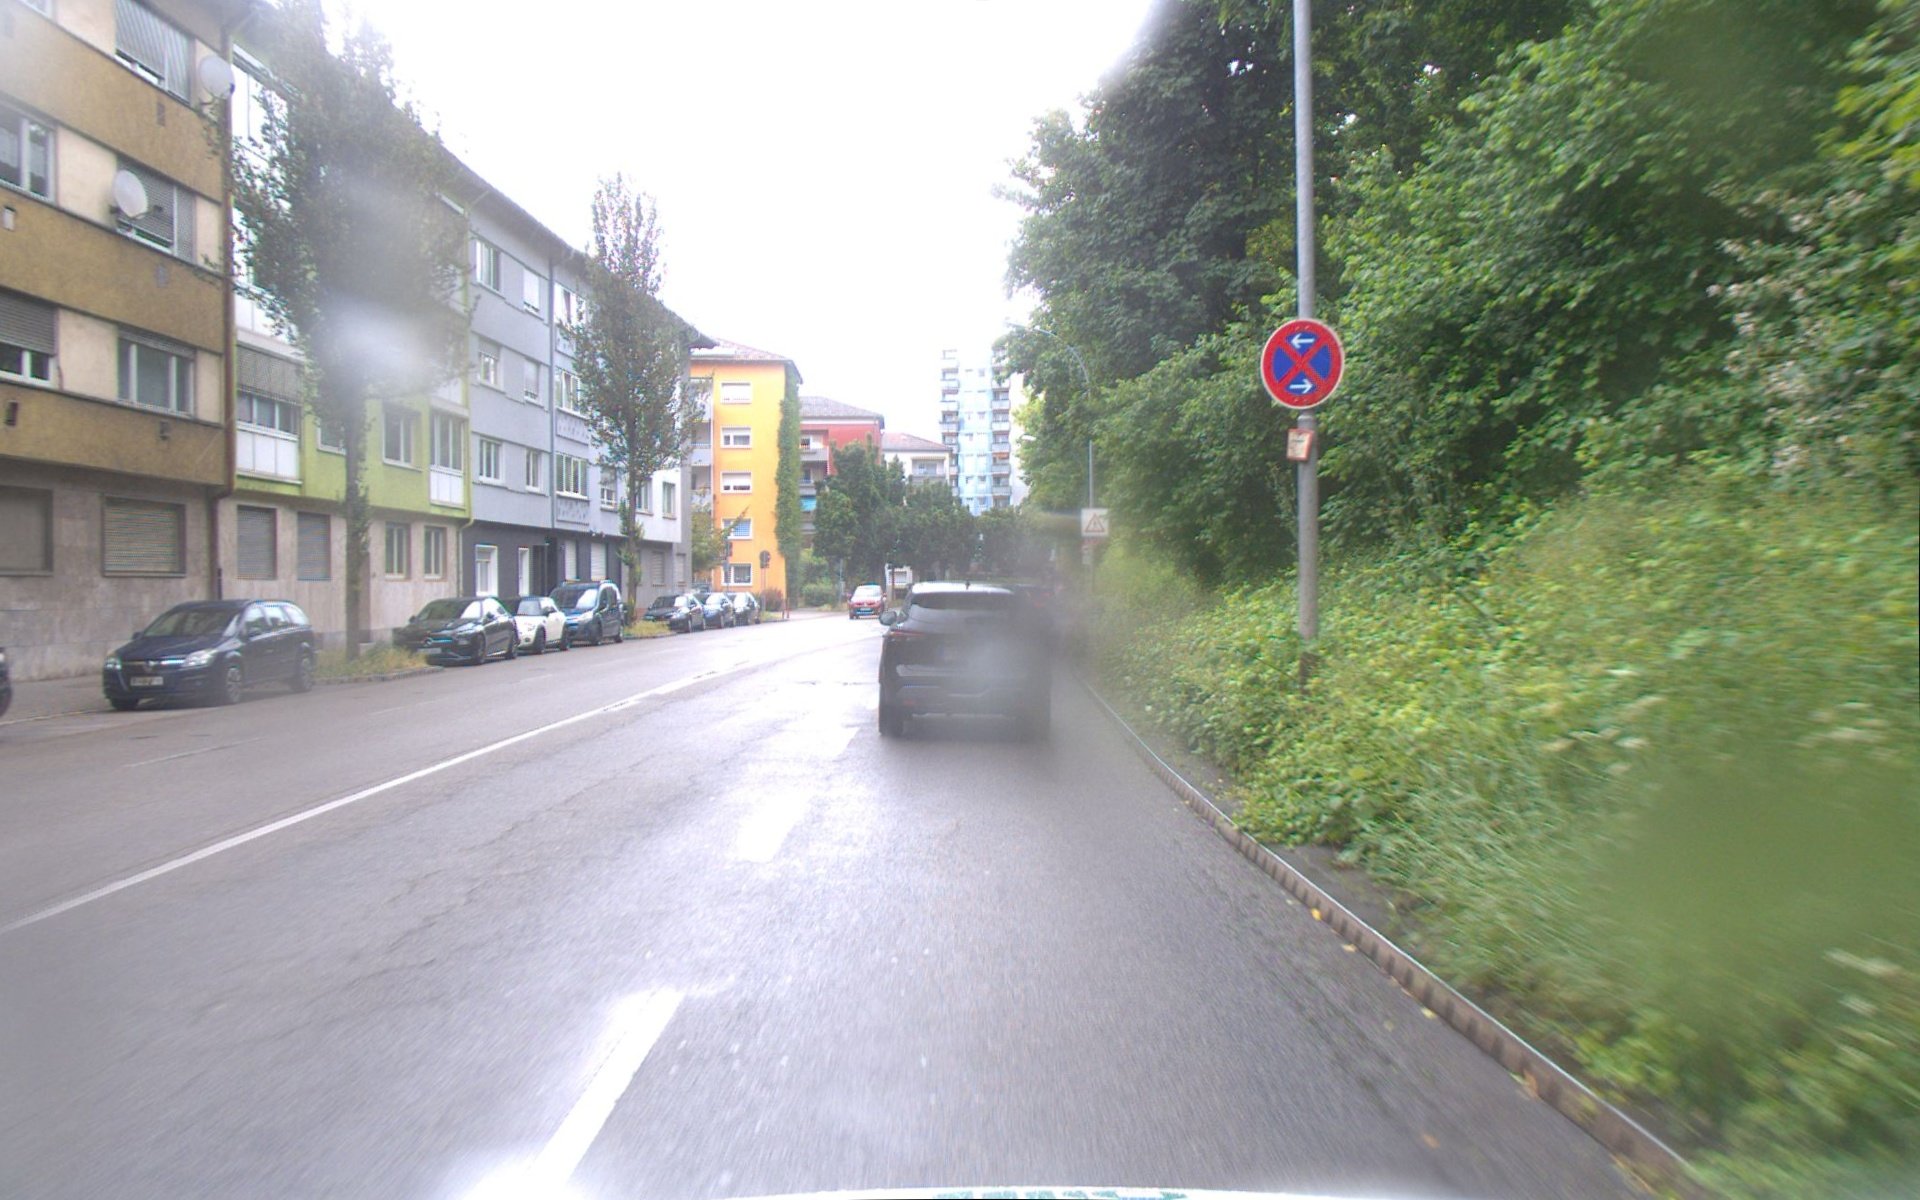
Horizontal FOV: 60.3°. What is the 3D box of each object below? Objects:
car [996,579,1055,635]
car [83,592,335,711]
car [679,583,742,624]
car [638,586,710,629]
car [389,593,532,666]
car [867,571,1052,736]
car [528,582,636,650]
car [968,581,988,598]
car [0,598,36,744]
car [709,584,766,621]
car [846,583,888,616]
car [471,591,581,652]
[{"bbox_3d":[2.158,0.208,54.081,1.847,1.741,4.002,0,0,3],"label":"car"},{"bbox_3d":[-11.109,0.692,24.836,1.683,1.514,4.514,-2,1,0],"label":"car"},{"bbox_3d":[-9.969,0.113,66.300,1.646,1.474,4.277,-3,0,2],"label":"car"},{"bbox_3d":[-10.447,0.248,60.704,1.653,1.381,4.580,-4,1,2],"label":"car"},{"bbox_3d":[-10.913,0.604,36.485,1.780,1.396,4.679,-2,1,-1],"label":"car"},{"bbox_3d":[0.068,0.507,18.408,1.806,1.610,4.001,1,1,2],"label":"car"},{"bbox_3d":[-10.822,0.414,47.653,1.851,1.797,4.602,-2,0,2],"label":"car"},{"bbox_3d":[1.659,-1.002,152.025,1.751,1.530,4.650,-2,1,2],"label":"car"},{"bbox_3d":[-10.911,0.805,15.577,1.781,1.514,4.788,-2,1,-2],"label":"car"},{"bbox_3d":[-9.714,0.086,72.558,1.677,1.450,4.324,-2,1,3],"label":"car"},{"bbox_3d":[-4.394,-0.030,78.517,1.671,1.504,3.681,-1,0,1],"label":"car"},{"bbox_3d":[-10.984,0.507,42.099,1.645,1.400,4.000,-3,1,1],"label":"car"}]
